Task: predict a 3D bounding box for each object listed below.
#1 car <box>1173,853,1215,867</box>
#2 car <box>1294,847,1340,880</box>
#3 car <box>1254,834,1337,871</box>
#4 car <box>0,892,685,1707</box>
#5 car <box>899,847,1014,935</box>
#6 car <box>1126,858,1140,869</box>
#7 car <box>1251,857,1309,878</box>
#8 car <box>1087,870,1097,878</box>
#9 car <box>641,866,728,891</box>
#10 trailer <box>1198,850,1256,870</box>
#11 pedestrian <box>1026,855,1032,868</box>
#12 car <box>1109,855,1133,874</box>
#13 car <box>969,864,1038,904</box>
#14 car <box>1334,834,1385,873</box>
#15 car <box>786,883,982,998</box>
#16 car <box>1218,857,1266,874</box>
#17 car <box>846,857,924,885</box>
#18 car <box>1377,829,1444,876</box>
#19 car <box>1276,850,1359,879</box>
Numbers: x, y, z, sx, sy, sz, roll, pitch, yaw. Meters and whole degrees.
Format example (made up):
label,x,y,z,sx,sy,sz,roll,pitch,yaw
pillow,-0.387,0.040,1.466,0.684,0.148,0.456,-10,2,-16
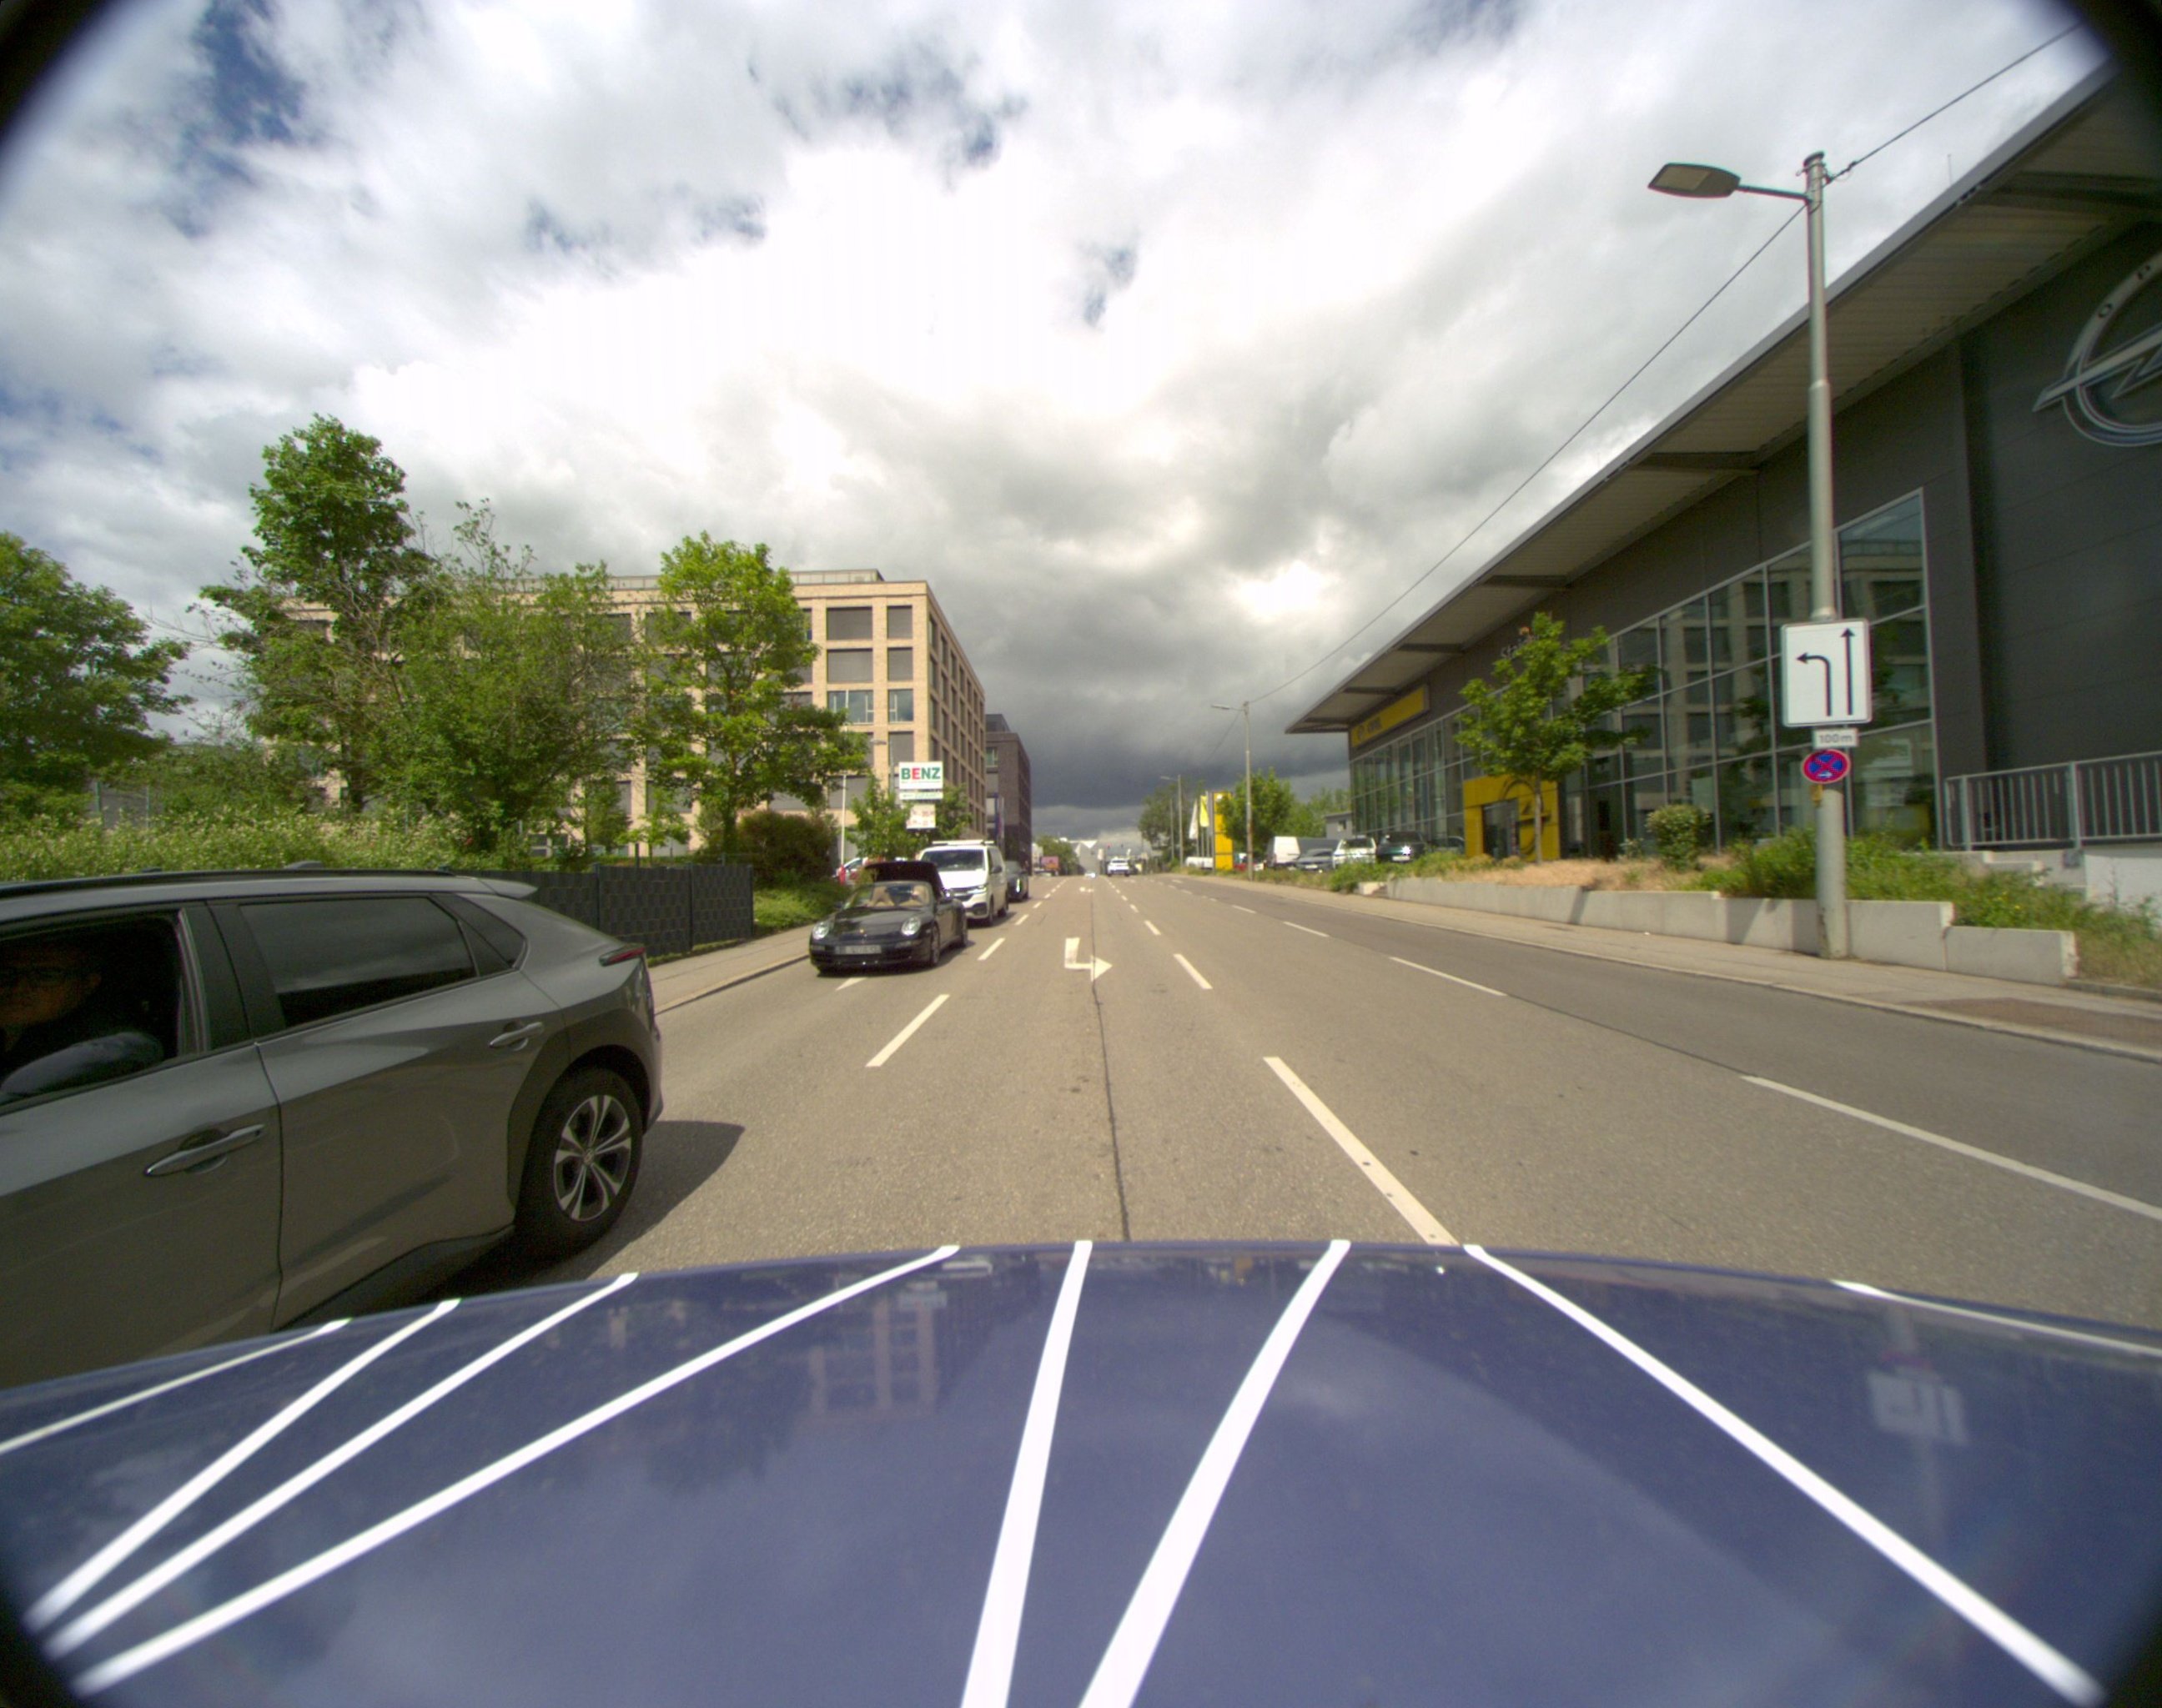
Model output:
label,x,y,z,sx,sy,sz,roll,pitch,yaw
car,12.513,0.649,84.445,4.252,1.473,2.095,-1,0,-2
car,12.195,0.487,39.108,1.794,1.604,4.116,-1,0,24
car,13.440,-0.096,47.838,4.532,2.182,2.179,-1,1,-3
car,-2.992,1.026,1.429,1.924,1.604,4.683,-3,0,1
car,-2.925,0.814,18.915,1.964,1.840,4.645,-3,0,1
car,7.396,1.350,107.774,1.762,1.513,3.959,-1,0,6
car,14.958,1.032,57.290,3.946,1.518,1.561,-1,0,-2
car,2.231,4.050,153.253,1.866,1.398,4.000,-1,0,1
car,-23.382,1.448,44.951,4.219,1.410,1.735,-1,0,-1
trailer,13.143,0.545,68.686,4.835,1.742,2.095,-1,0,-3
pedestrian,-5.954,0.864,87.338,0.578,1.497,0.542,-1,1,1
car,3.592,0.932,68.770,1.924,1.604,4.416,-1,0,1
car,-2.780,1.053,28.201,1.777,1.267,4.569,-1,0,4
car,12.374,-0.049,33.616,1.793,1.604,4.115,-1,1,25
car,-2.877,1.215,12.205,1.777,1.267,4.569,-3,0,2
car,13.702,0.992,64.800,3.669,1.401,1.815,-1,0,2
car,-11.653,1.009,45.403,4.220,1.567,1.735,-1,0,-4
car,12.466,-0.060,28.644,1.816,1.604,4.117,2,1,30
car,13.332,0.581,43.017,4.108,1.604,1.797,-1,0,-8
